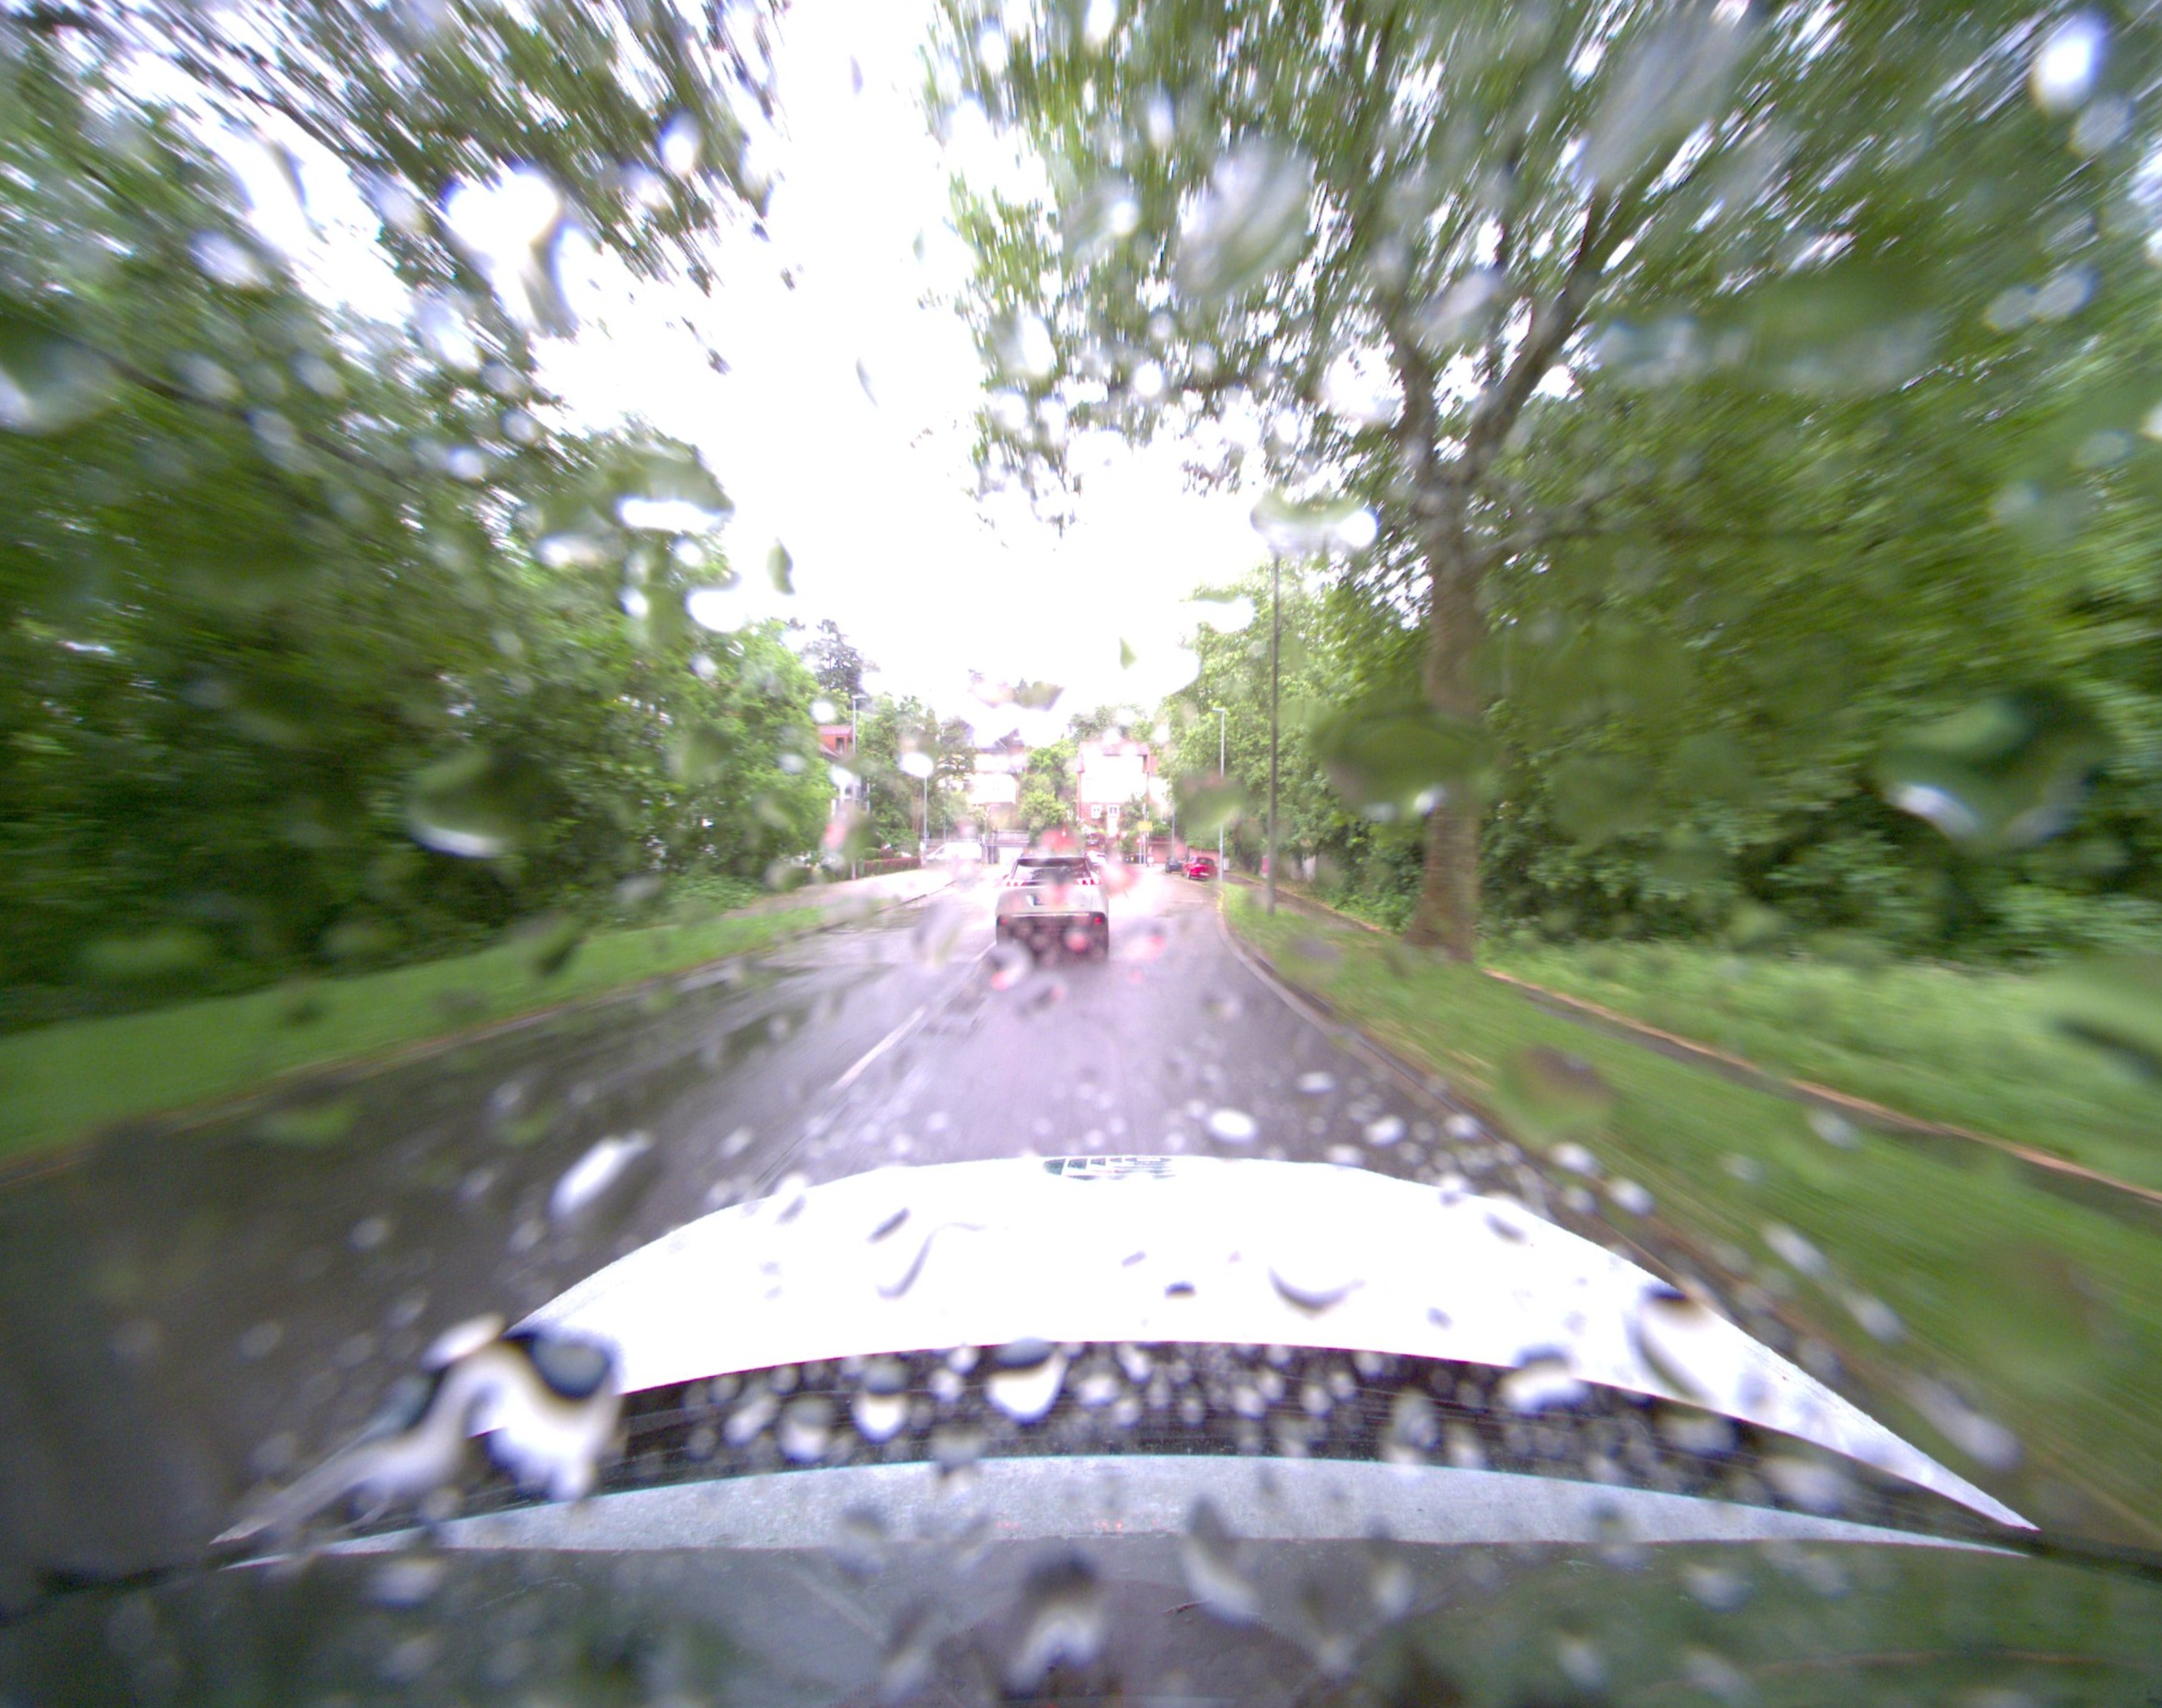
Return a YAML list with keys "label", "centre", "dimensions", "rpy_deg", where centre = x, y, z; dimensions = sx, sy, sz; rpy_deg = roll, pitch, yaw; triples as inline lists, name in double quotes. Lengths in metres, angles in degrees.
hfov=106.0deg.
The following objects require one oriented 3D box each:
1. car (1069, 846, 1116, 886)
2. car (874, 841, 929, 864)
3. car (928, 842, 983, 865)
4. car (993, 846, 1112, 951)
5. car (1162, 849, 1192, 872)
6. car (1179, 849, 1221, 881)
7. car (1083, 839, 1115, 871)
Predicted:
- label: "car"
  centre: [0.512, 0.461, 34.564]
  dimensions: [1.825, 1.456, 4.660]
  rpy_deg: [3, 1, 1]
- label: "car"
  centre: [-20.335, -0.160, 92.284]
  dimensions: [5.541, 2.494, 2.317]
  rpy_deg: [1, -1, 2]
- label: "car"
  centre: [-14.143, -0.064, 91.975]
  dimensions: [5.638, 2.494, 2.317]
  rpy_deg: [1, -1, 2]
- label: "car"
  centre: [-0.379, 0.644, 14.226]
  dimensions: [1.746, 1.536, 4.368]
  rpy_deg: [-1, 0, 1]
- label: "car"
  centre: [6.957, 0.447, 59.077]
  dimensions: [1.743, 1.491, 3.600]
  rpy_deg: [3, 0, 1]
- label: "car"
  centre: [7.201, 0.637, 49.598]
  dimensions: [1.815, 1.517, 3.742]
  rpy_deg: [7, 2, -2]
- label: "car"
  centre: [1.034, 0.015, 48.344]
  dimensions: [1.755, 1.711, 4.600]
  rpy_deg: [2, 1, -1]
